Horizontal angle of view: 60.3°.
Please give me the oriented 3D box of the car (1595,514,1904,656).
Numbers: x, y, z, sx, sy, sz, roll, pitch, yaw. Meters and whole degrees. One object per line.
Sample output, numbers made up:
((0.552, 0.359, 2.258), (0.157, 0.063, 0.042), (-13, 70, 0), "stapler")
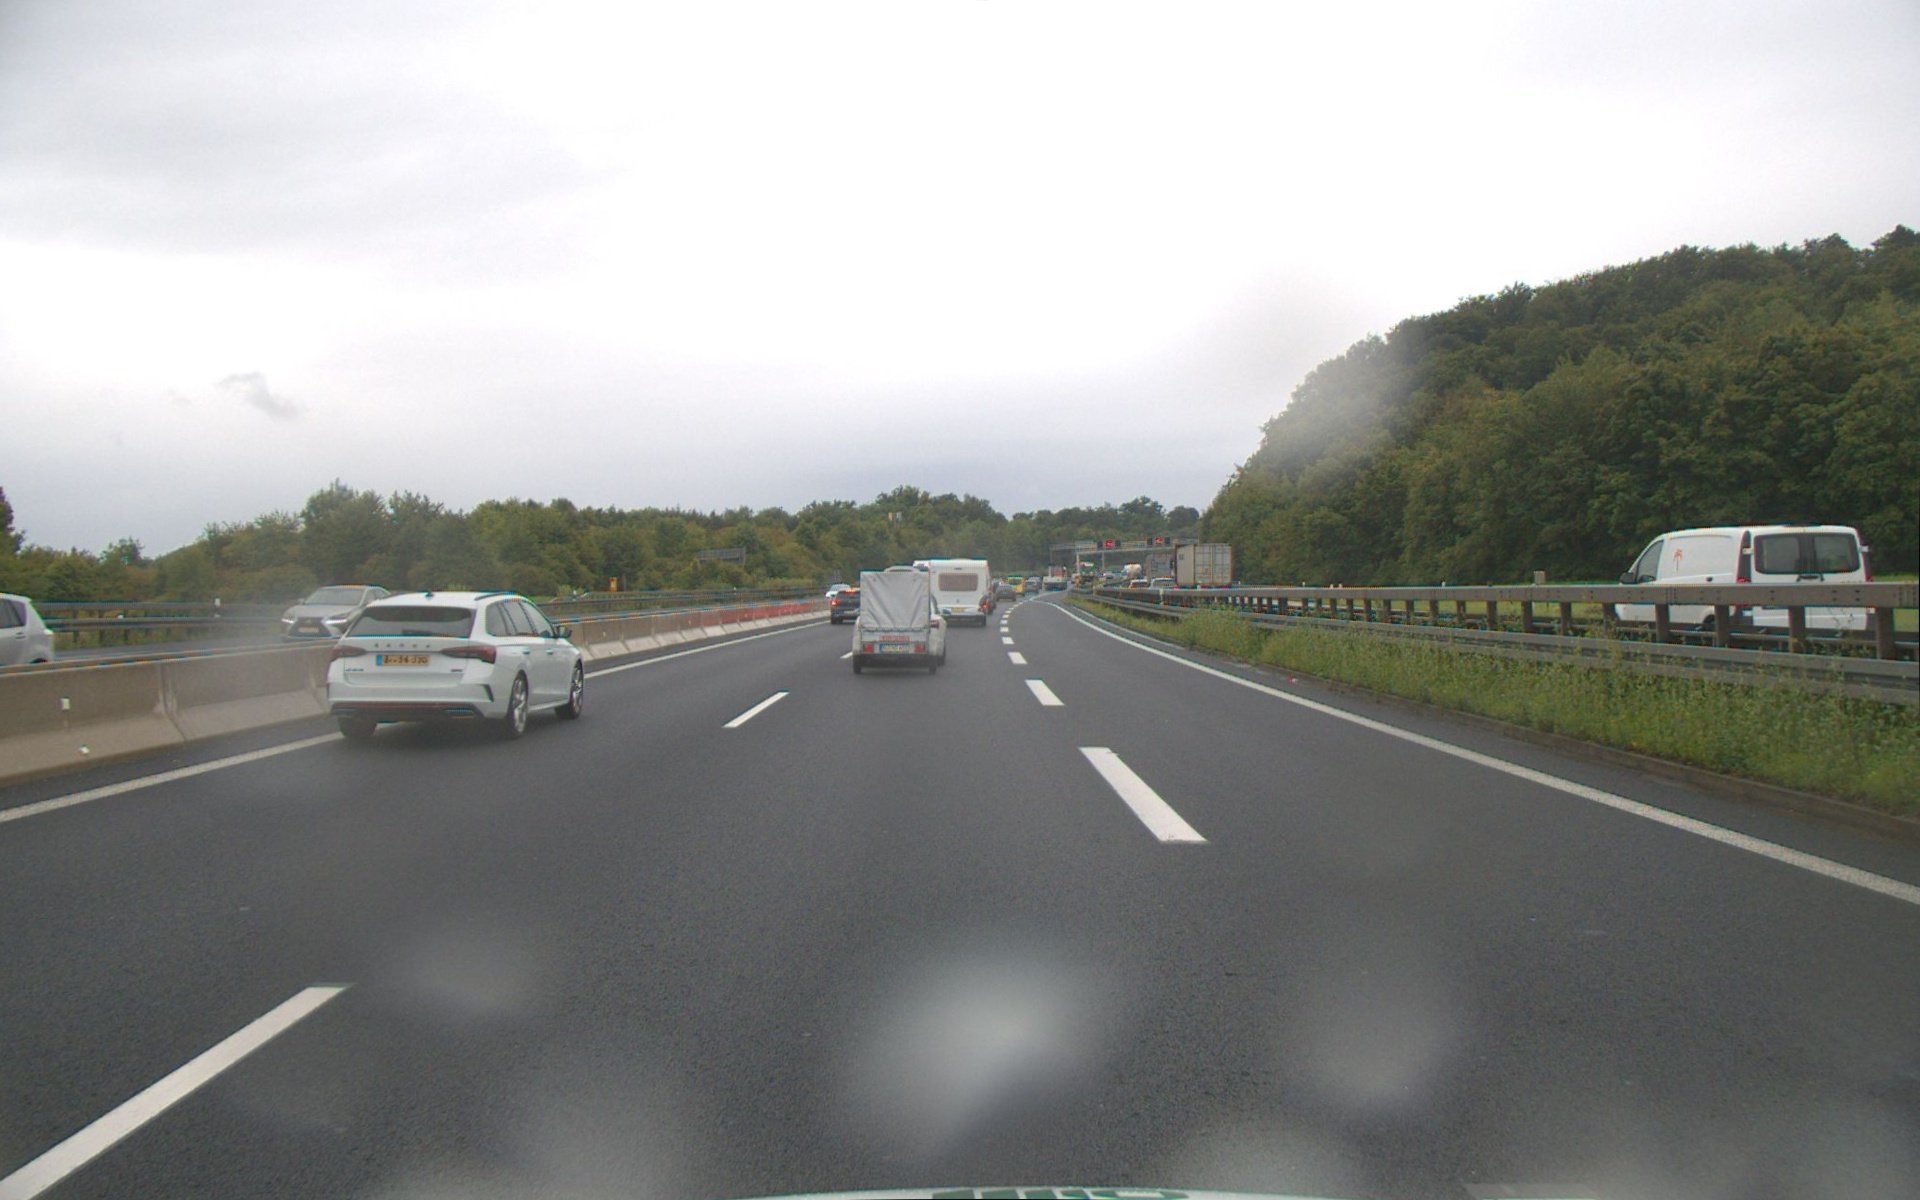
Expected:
((10.661, -0.182, 22.789), (1.870, 1.723, 4.717), (-1, 0, -2), "car")

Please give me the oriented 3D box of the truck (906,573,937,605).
((-5.126, -1.469, 221.369), (2.728, 4.164, 12.306), (-1, 0, 5), "truck")

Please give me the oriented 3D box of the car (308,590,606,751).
((-5.219, 0.661, 17.883), (1.781, 1.481, 4.777), (-1, 0, 0), "car")

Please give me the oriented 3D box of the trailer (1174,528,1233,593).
((16.054, -2.509, 109.744), (2.550, 3.962, 12.494), (-1, 0, 3), "trailer")

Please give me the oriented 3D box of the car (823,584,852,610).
((-9.664, -0.243, 130.731), (1.701, 1.953, 4.318), (-1, 0, 3), "car")

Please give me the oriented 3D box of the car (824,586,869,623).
((-4.704, 0.176, 68.894), (1.642, 1.481, 3.999), (-1, 0, -1), "car")

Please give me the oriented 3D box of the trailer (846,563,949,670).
((-1.102, 0.286, 30.868), (1.641, 1.844, 4.001), (-1, 0, 1), "trailer")

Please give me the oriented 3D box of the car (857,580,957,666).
((-1.029, 0.441, 34.335), (1.781, 1.644, 4.778), (-1, 0, 1), "car")

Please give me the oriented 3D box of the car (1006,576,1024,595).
((5.745, -1.488, 172.151), (1.640, 1.844, 4.002), (-1, 0, 5), "car")

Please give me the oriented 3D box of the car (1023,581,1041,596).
((8.475, -1.383, 194.222), (1.995, 1.712, 4.001), (-1, 0, 2), "car")

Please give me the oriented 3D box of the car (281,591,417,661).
((-15.689, 0.633, 42.722), (1.853, 1.679, 4.602), (-1, 0, -1), "car")

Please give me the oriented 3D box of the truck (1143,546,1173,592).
((21.846, -3.287, 182.150), (3.147, 4.748, 13.042), (-1, 0, 7), "truck")

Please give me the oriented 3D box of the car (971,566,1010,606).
((1.679, -0.745, 89.797), (1.640, 2.103, 4.003), (-1, 0, 8), "car")

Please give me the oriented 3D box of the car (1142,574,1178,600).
((11.606, -0.763, 96.165), (1.632, 1.407, 4.126), (-3, 0, 1), "car")

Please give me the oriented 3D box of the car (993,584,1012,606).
((3.676, -0.448, 143.411), (1.641, 1.844, 4.001), (-1, 0, 2), "car")

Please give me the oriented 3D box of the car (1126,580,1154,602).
((13.718, -0.671, 126.378), (1.733, 1.638, 4.644), (-1, 0, 2), "car")

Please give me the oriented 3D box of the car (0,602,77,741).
((-12.997, 0.912, 20.365), (1.953, 1.741, 4.302), (-1, 0, -1), "car")

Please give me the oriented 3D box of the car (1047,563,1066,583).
((13.375, -3.754, 229.808), (2.462, 2.620, 5.315), (-1, 0, 5), "car")

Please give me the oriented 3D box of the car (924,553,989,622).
((-0.085, -0.473, 66.022), (2.456, 2.630, 5.700), (-1, 0, 1), "car")

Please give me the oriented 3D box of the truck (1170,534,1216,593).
((16.291, -2.465, 115.873), (2.561, 3.952, 6.394), (-1, 0, 3), "truck")

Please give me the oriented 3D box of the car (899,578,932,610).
((-2.715, -0.374, 102.504), (1.953, 1.952, 3.999), (-1, 0, -1), "car")
